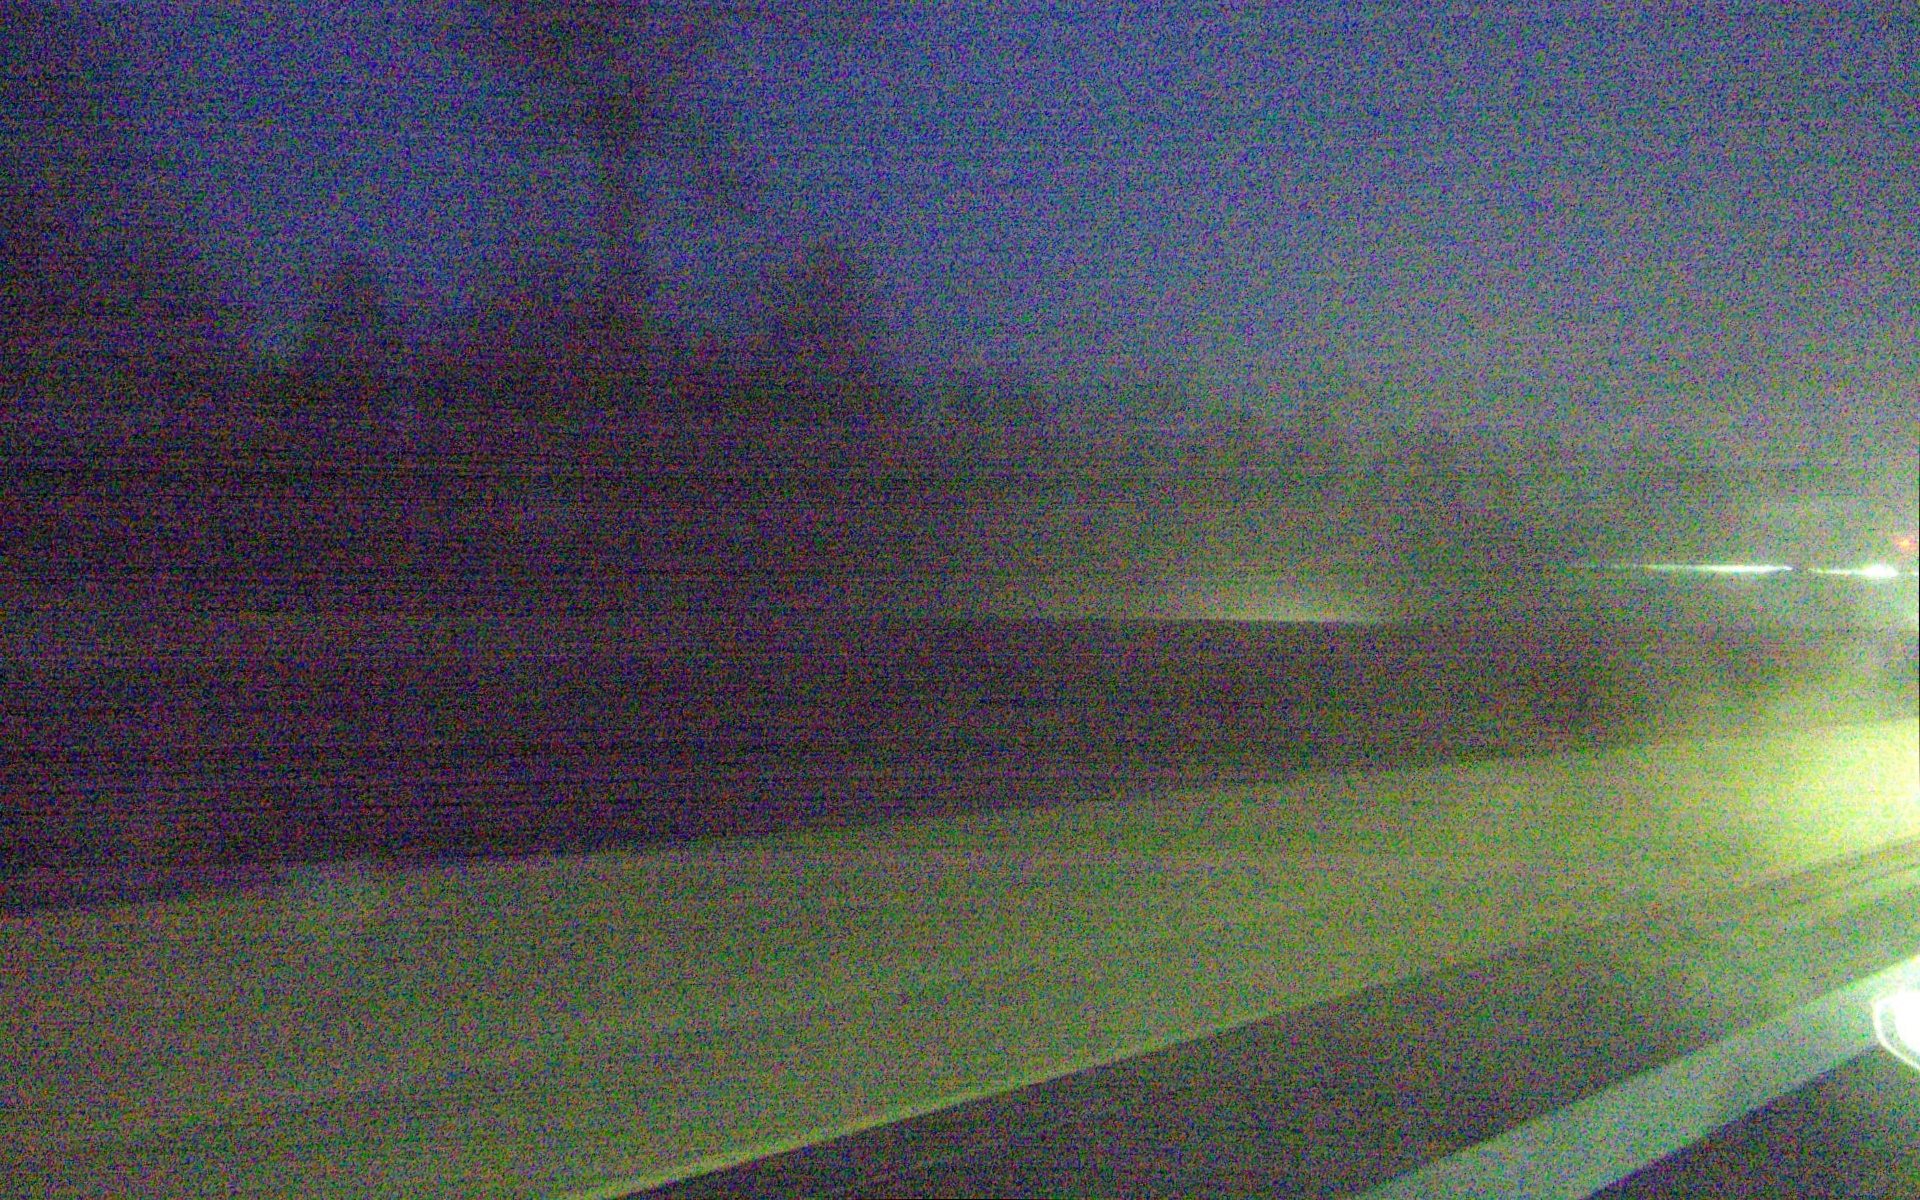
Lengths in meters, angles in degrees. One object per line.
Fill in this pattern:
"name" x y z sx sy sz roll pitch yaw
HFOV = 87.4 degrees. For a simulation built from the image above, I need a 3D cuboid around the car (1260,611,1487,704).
"car" 7.965 1.034 19.305 3.955 1.546 2.113 1 0 -31
